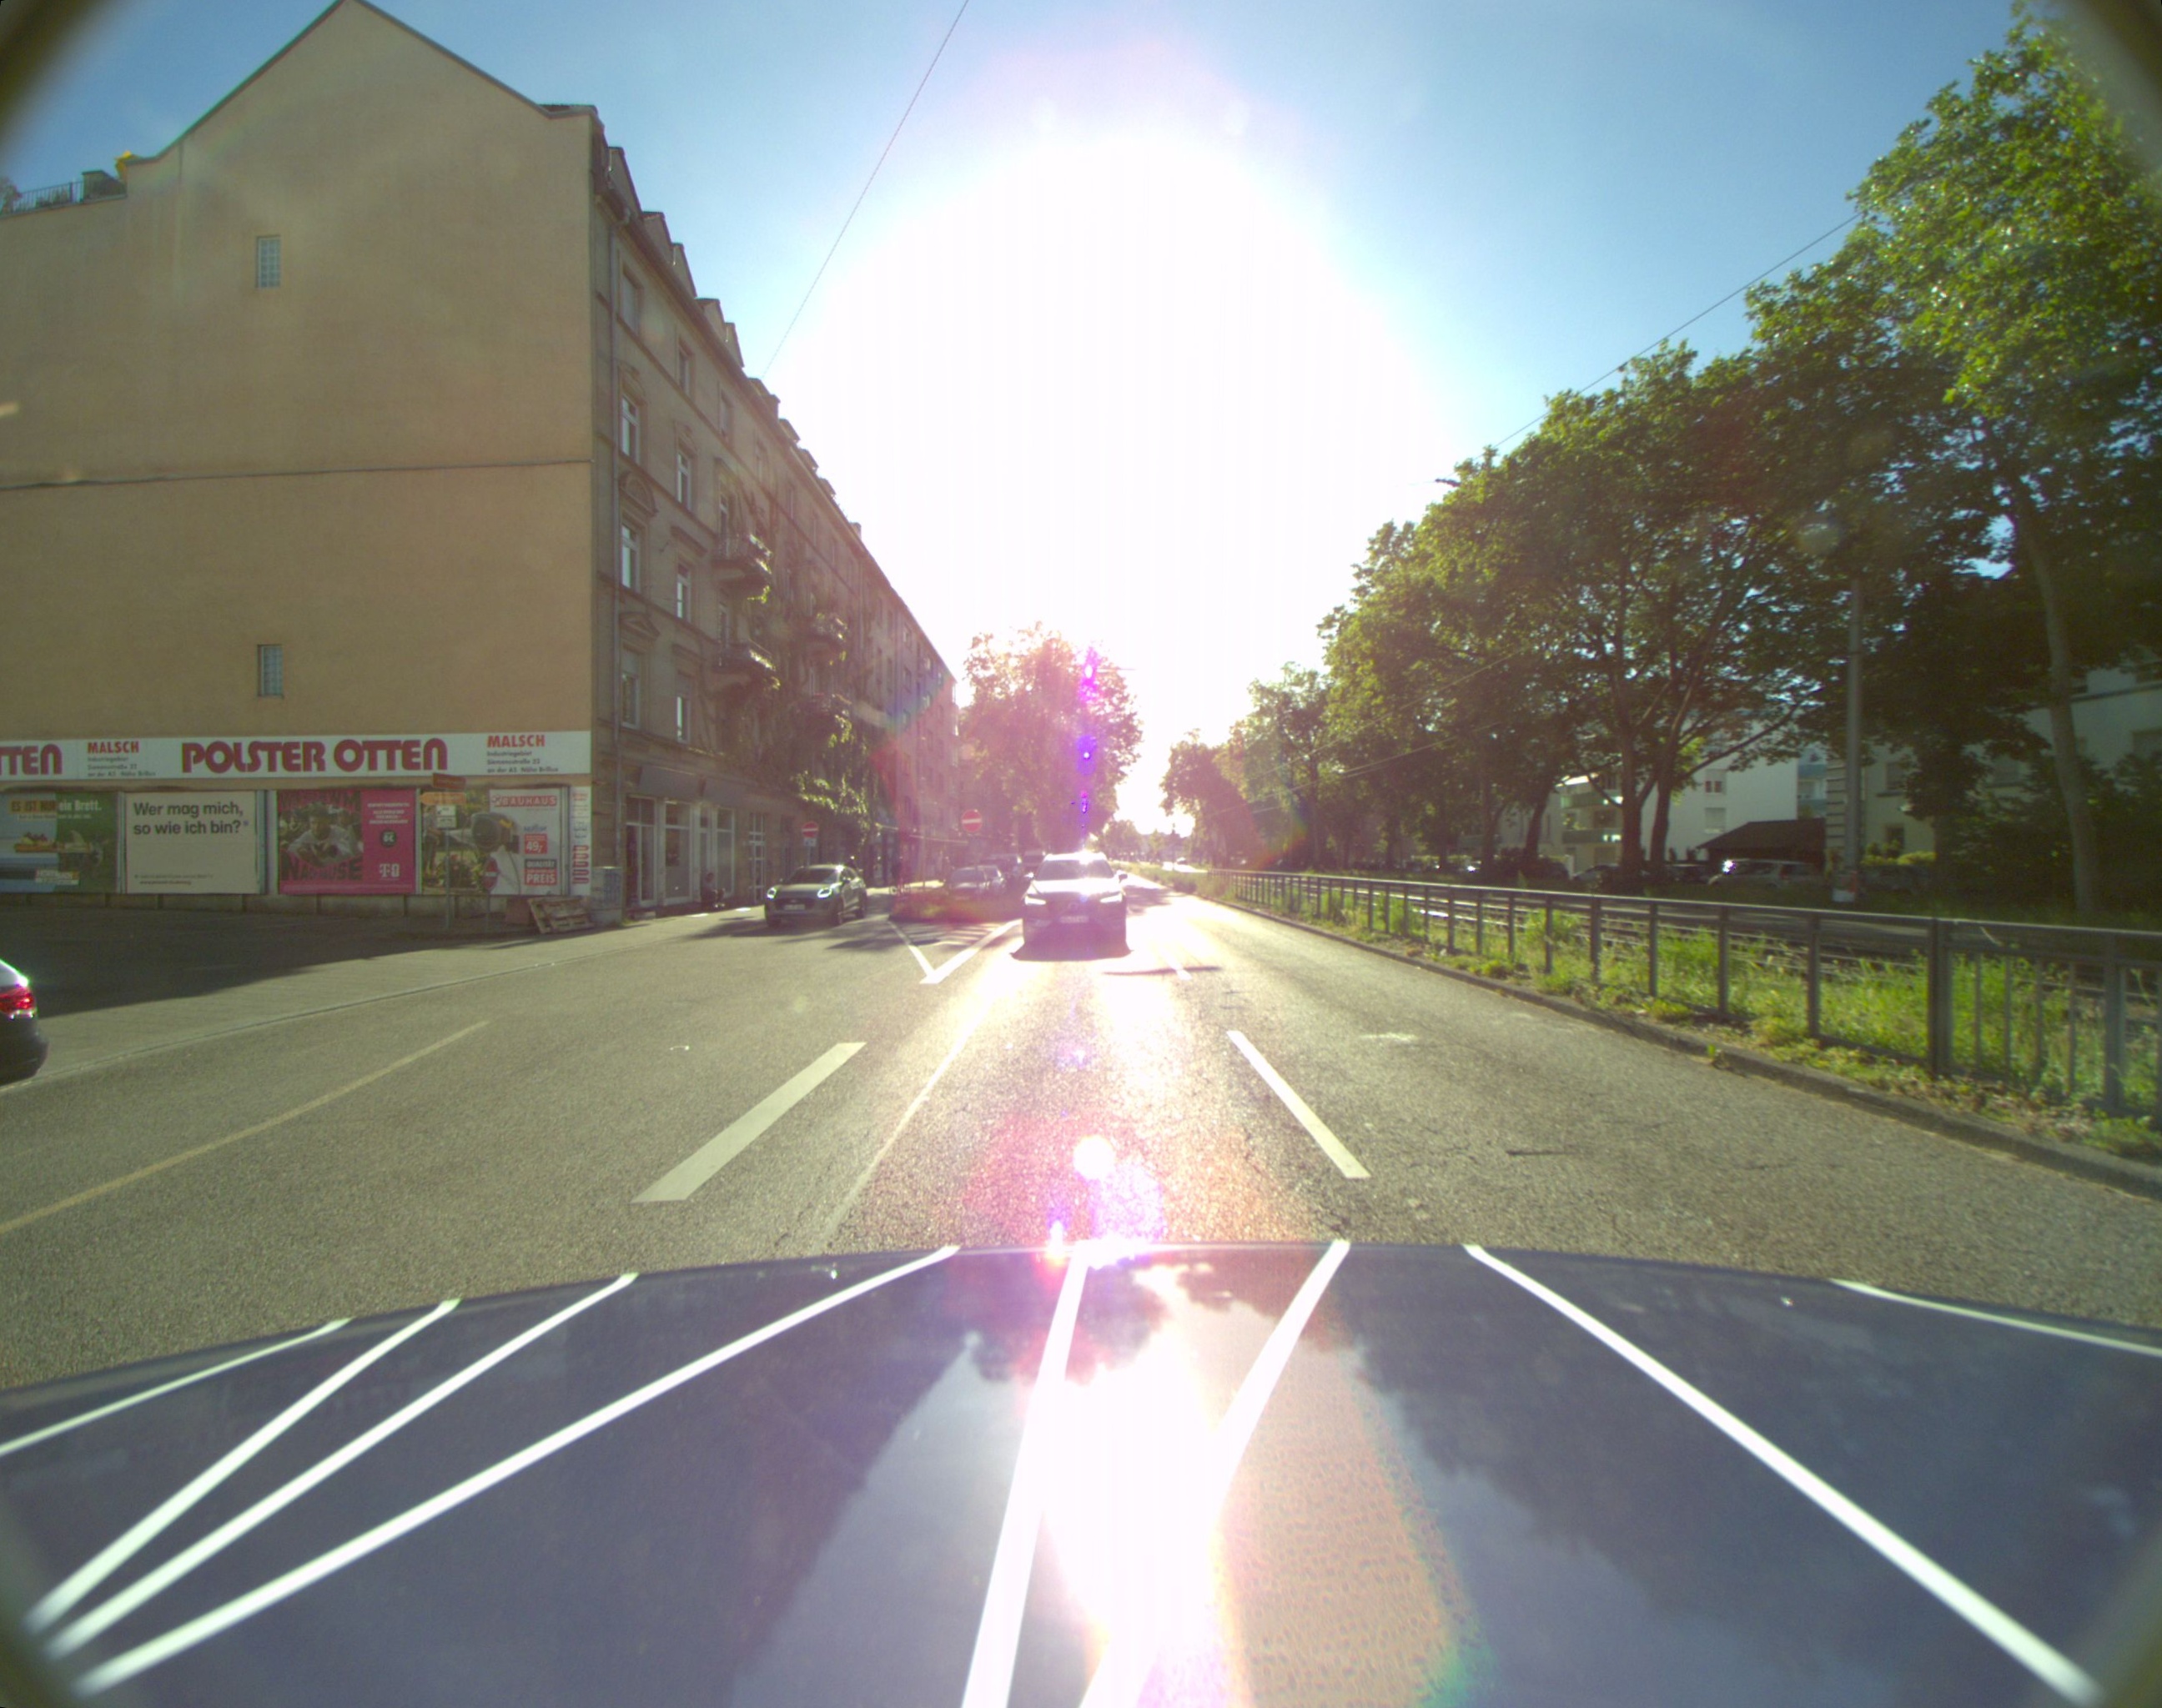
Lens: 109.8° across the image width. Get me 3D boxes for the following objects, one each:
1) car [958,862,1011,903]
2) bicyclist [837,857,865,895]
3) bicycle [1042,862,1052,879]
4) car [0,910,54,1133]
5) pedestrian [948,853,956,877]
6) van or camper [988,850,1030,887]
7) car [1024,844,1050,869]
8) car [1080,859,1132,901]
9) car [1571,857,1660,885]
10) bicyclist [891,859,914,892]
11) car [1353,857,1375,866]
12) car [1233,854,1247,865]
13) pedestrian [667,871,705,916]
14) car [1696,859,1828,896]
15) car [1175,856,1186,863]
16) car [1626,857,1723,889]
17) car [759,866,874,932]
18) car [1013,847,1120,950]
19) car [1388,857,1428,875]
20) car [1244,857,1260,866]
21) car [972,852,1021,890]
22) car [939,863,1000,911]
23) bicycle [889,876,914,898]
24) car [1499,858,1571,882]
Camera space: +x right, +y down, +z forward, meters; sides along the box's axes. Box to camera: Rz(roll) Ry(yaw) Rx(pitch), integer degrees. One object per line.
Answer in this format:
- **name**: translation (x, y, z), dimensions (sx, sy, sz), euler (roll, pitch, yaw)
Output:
- **car**: translation (-4.026, 1.145, 32.353), dimensions (1.743, 1.508, 3.999), euler (-3, 0, -1)
- **bicyclist**: translation (-9.223, 0.867, 30.480), dimensions (0.746, 1.453, 0.951), euler (-1, 1, 2)
- **bicycle**: translation (-2.566, 1.243, 57.483), dimensions (0.466, 1.206, 1.751), euler (0, 0, 4)
- **car**: translation (-8.259, 1.110, 3.023), dimensions (1.837, 1.478, 4.734), euler (2, 0, 1)
- **pedestrian**: translation (-9.727, 0.843, 57.187), dimensions (0.470, 1.822, 0.516), euler (0, 0, 1)
- **van or camper**: translation (-4.008, 0.773, 43.106), dimensions (1.888, 2.002, 5.094), euler (0, 0, 0)
- **car**: translation (-4.397, 0.271, 76.112), dimensions (2.079, 2.420, 5.856), euler (-1, 0, 1)
- **car**: translation (0.876, 0.941, 28.713), dimensions (1.608, 1.445, 3.780), euler (0, 0, -3)
- **car**: translation (28.502, 0.866, 40.681), dimensions (1.644, 1.316, 4.461), euler (2, 0, 1)
- **bicyclist**: translation (-8.054, 0.957, 34.312), dimensions (0.678, 1.437, 1.182), euler (4, 0, 1)
- **car**: translation (28.410, 0.724, 76.459), dimensions (1.109, 0.871, 3.060), euler (0, 0, 1)
- **car**: translation (28.186, 0.957, 135.035), dimensions (1.998, 2.002, 4.002), euler (0, 0, 5)
- **pedestrian**: translation (-11.345, 1.117, 21.834), dimensions (0.717, 1.253, 0.713), euler (0, 1, -3)
- **car**: translation (28.444, 0.943, 31.967), dimensions (1.739, 1.432, 4.319), euler (0, 0, 1)
- **car**: translation (22.398, 1.259, 170.468), dimensions (1.862, 1.637, 4.460), euler (0, 0, -1)
- **car**: translation (28.228, 0.862, 36.291), dimensions (1.779, 1.456, 3.697), euler (0, 0, 1)
- **car**: translation (-7.023, 1.121, 20.643), dimensions (1.702, 1.519, 4.380), euler (-1, 0, -2)
- **car**: translation (-0.197, 0.792, 15.636), dimensions (1.876, 1.788, 4.633), euler (0, 0, 1)
- **car**: translation (28.584, 1.025, 66.503), dimensions (1.801, 1.464, 4.000), euler (0, 0, 1)
- **car**: translation (28.162, 1.191, 125.281), dimensions (1.771, 1.477, 3.688), euler (0, 0, 1)
- **car**: translation (-4.115, 0.804, 37.581), dimensions (1.869, 1.753, 4.000), euler (0, 0, 1)
- **car**: translation (-4.007, 1.161, 27.902), dimensions (1.645, 1.508, 3.999), euler (-3, 0, -1)
- **bicycle**: translation (-8.064, 1.452, 34.214), dimensions (0.651, 0.914, 1.918), euler (0, 0, 1)
- **car**: translation (28.379, 0.974, 47.651), dimensions (1.998, 1.444, 4.319), euler (0, 0, 1)
